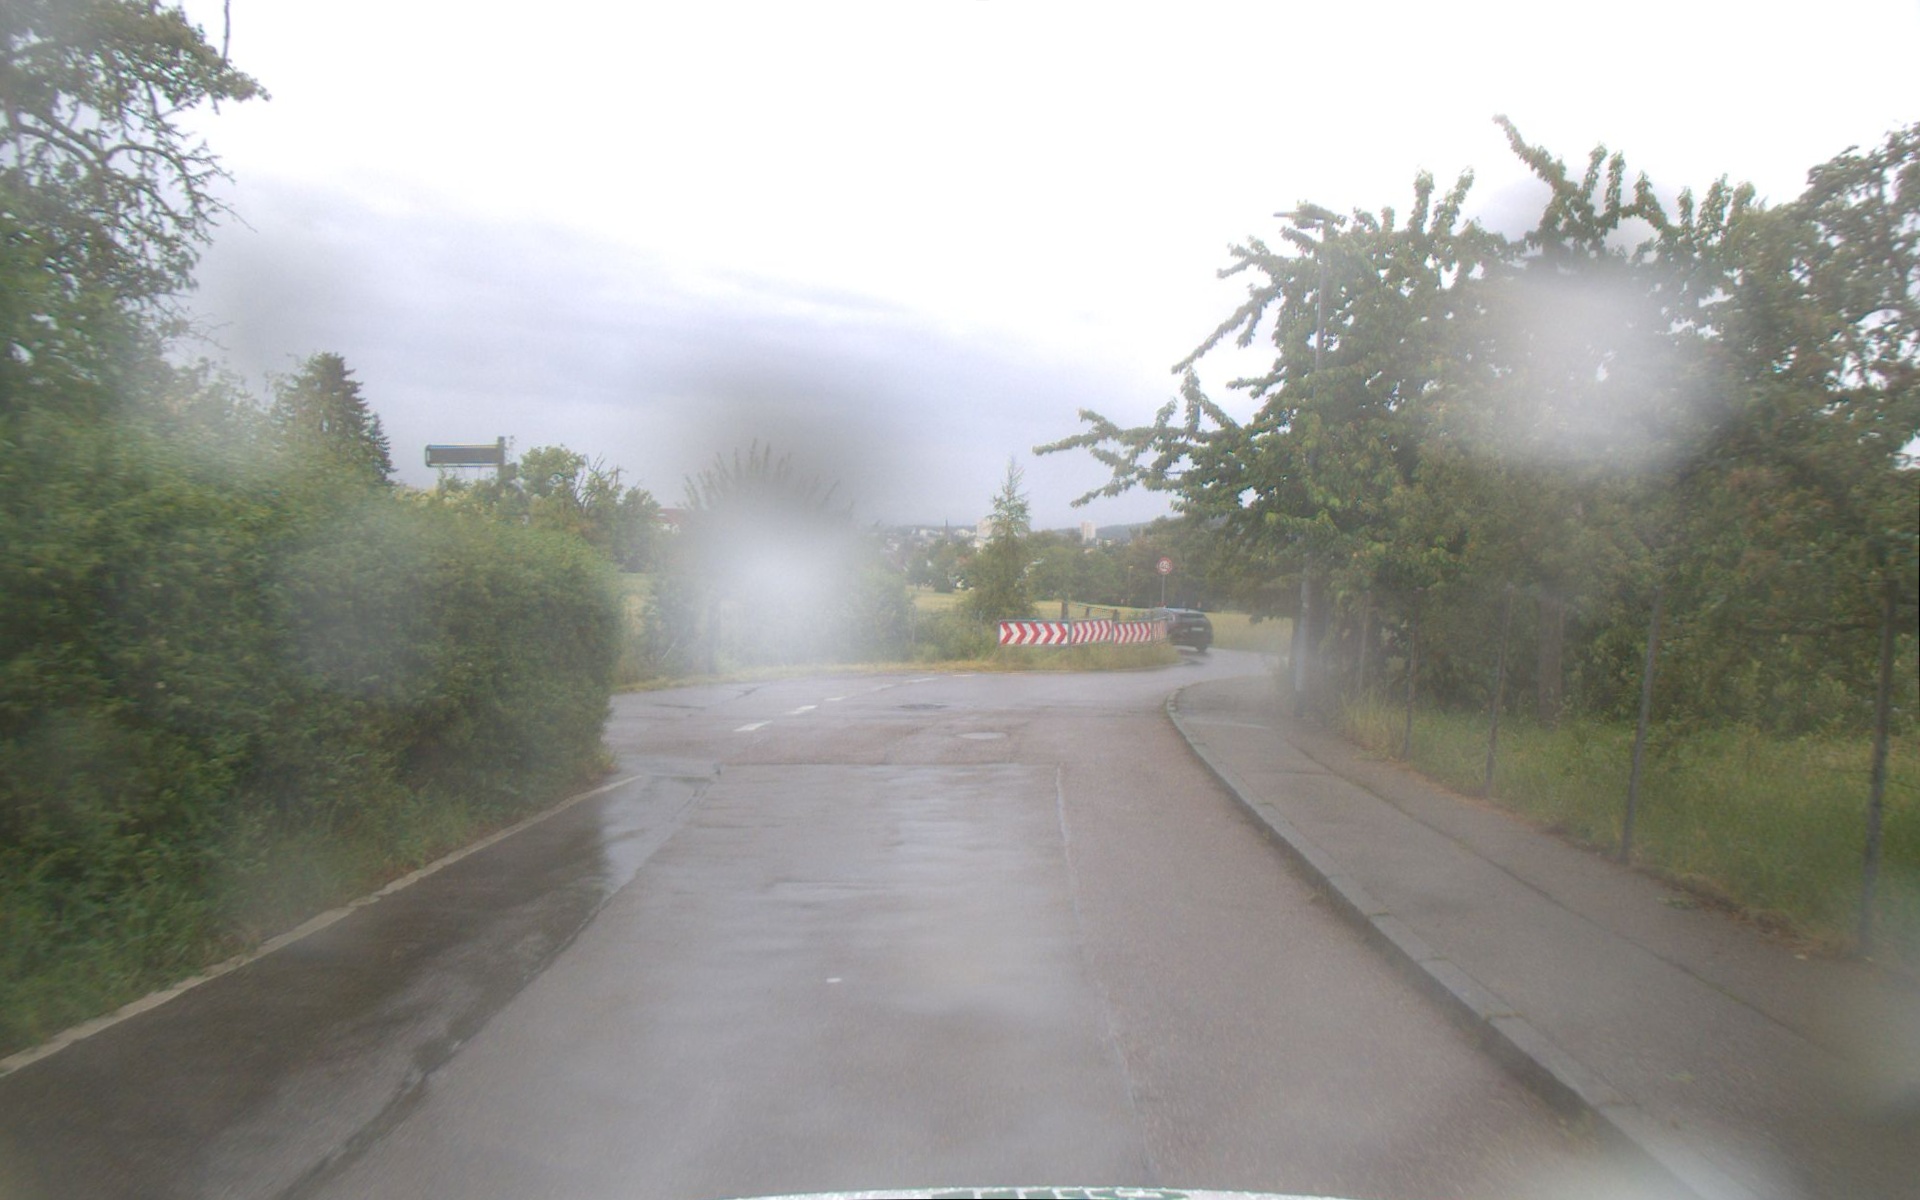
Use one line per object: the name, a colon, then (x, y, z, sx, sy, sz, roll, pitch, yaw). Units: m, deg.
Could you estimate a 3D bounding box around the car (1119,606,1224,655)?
car: (7.557, 1.083, 59.405, 1.794, 1.622, 3.963, 2, 0, -28)
